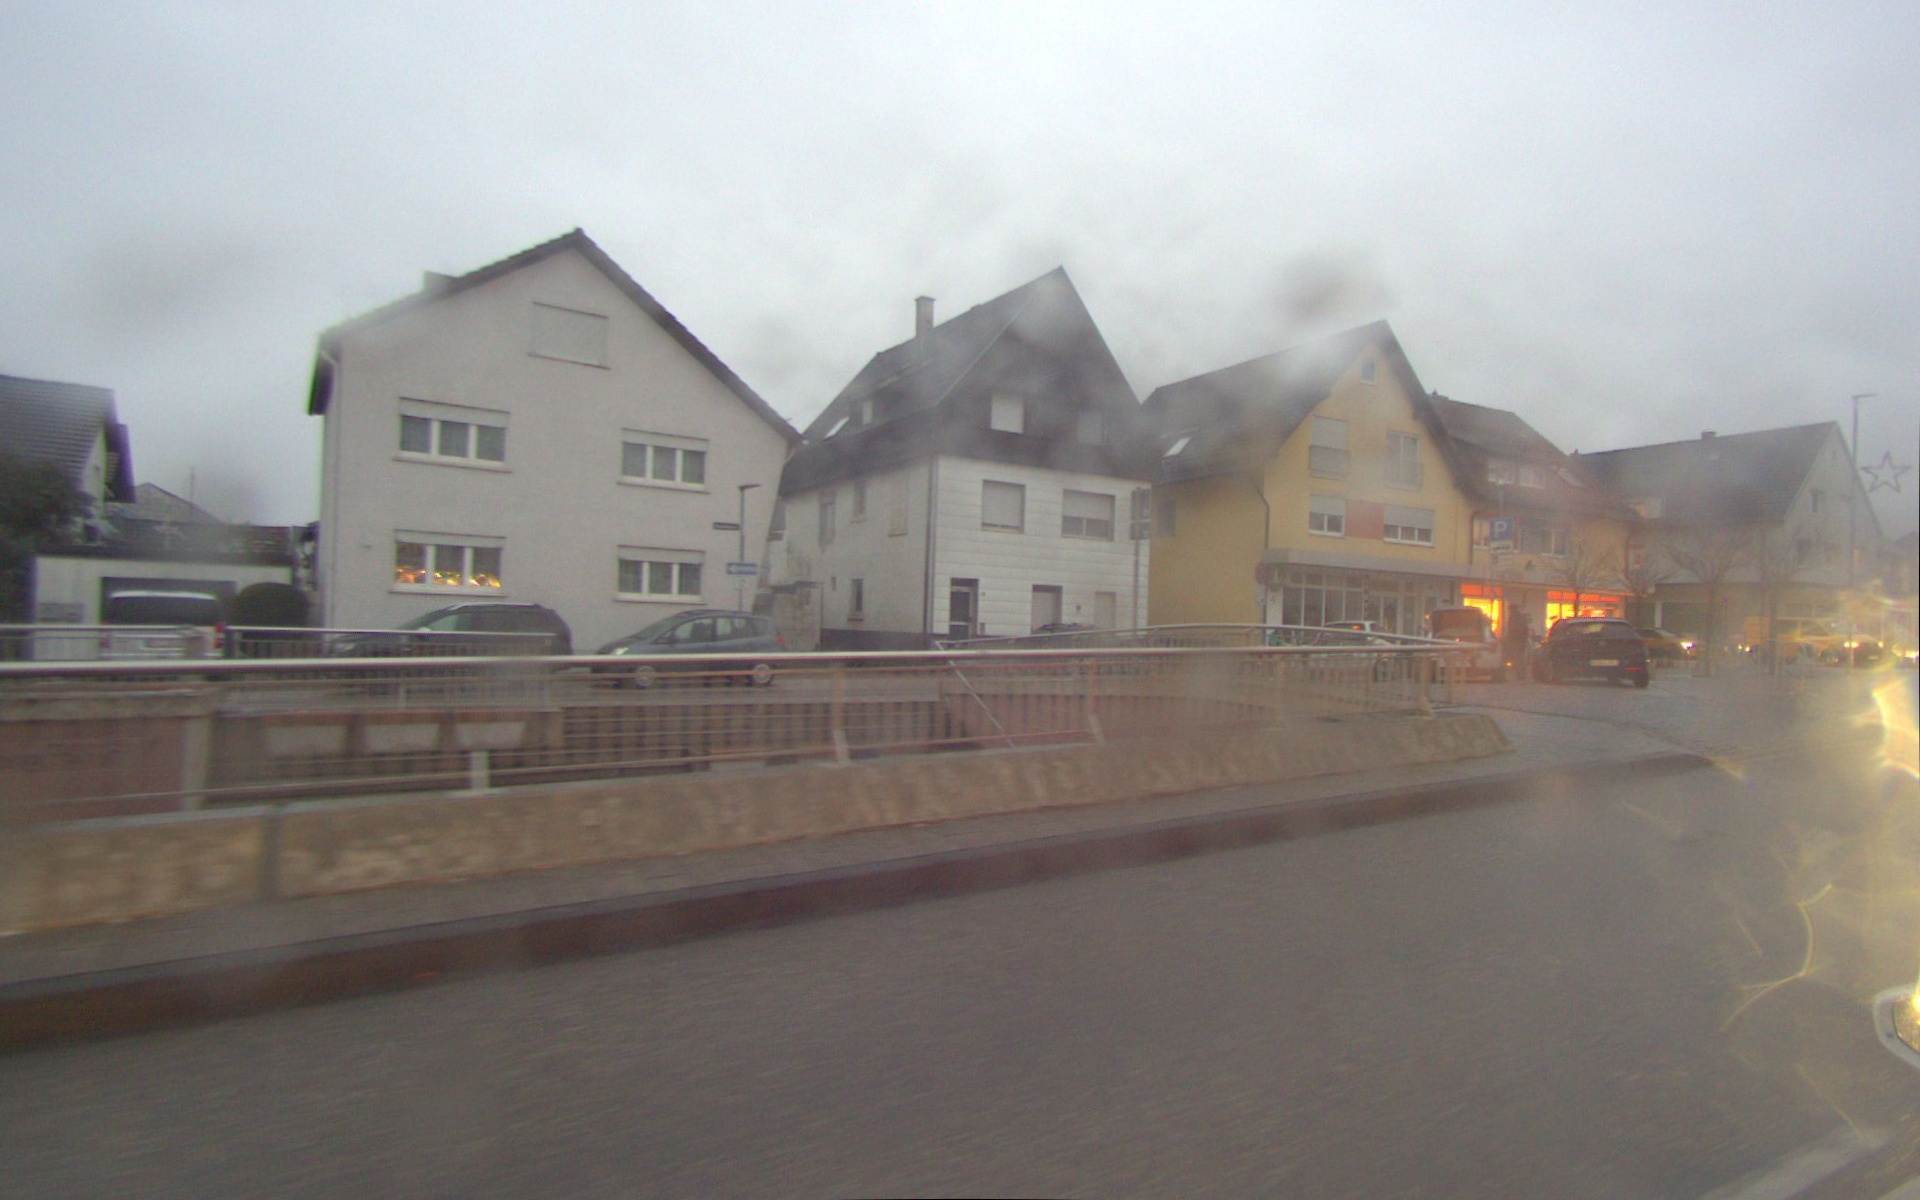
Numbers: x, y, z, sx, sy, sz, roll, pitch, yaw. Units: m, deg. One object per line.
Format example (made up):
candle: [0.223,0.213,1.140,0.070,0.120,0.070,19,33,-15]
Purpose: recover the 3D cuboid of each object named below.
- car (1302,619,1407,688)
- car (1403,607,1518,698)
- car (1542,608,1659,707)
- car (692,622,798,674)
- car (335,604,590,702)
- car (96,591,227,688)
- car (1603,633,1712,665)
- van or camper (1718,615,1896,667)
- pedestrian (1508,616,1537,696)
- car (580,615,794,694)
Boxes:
car: [10.409,1.332,26.346,1.796,1.634,4.046,0,-1,33]
car: [11.988,1.182,23.910,2.009,1.951,4.046,0,-1,33]
car: [14.127,1.195,22.190,2.009,1.951,4.046,0,-1,33]
car: [-6.610,1.426,30.619,1.823,1.431,3.963,1,-1,-34]
car: [-9.604,0.966,19.498,4.177,1.705,1.897,1,-1,-36]
car: [-15.729,0.767,19.896,1.848,1.716,3.957,1,-2,-38]
car: [33.126,2.290,47.792,1.709,1.383,3.964,1,-1,-33]
van or camper: [34.985,1.646,41.726,1.967,1.980,5.530,1,-1,-16]
pedestrian: [12.380,1.228,22.111,0.489,1.724,0.711,-1,-2,33]
car: [-5.955,1.145,22.033,4.172,1.583,1.899,1,-1,-33]
